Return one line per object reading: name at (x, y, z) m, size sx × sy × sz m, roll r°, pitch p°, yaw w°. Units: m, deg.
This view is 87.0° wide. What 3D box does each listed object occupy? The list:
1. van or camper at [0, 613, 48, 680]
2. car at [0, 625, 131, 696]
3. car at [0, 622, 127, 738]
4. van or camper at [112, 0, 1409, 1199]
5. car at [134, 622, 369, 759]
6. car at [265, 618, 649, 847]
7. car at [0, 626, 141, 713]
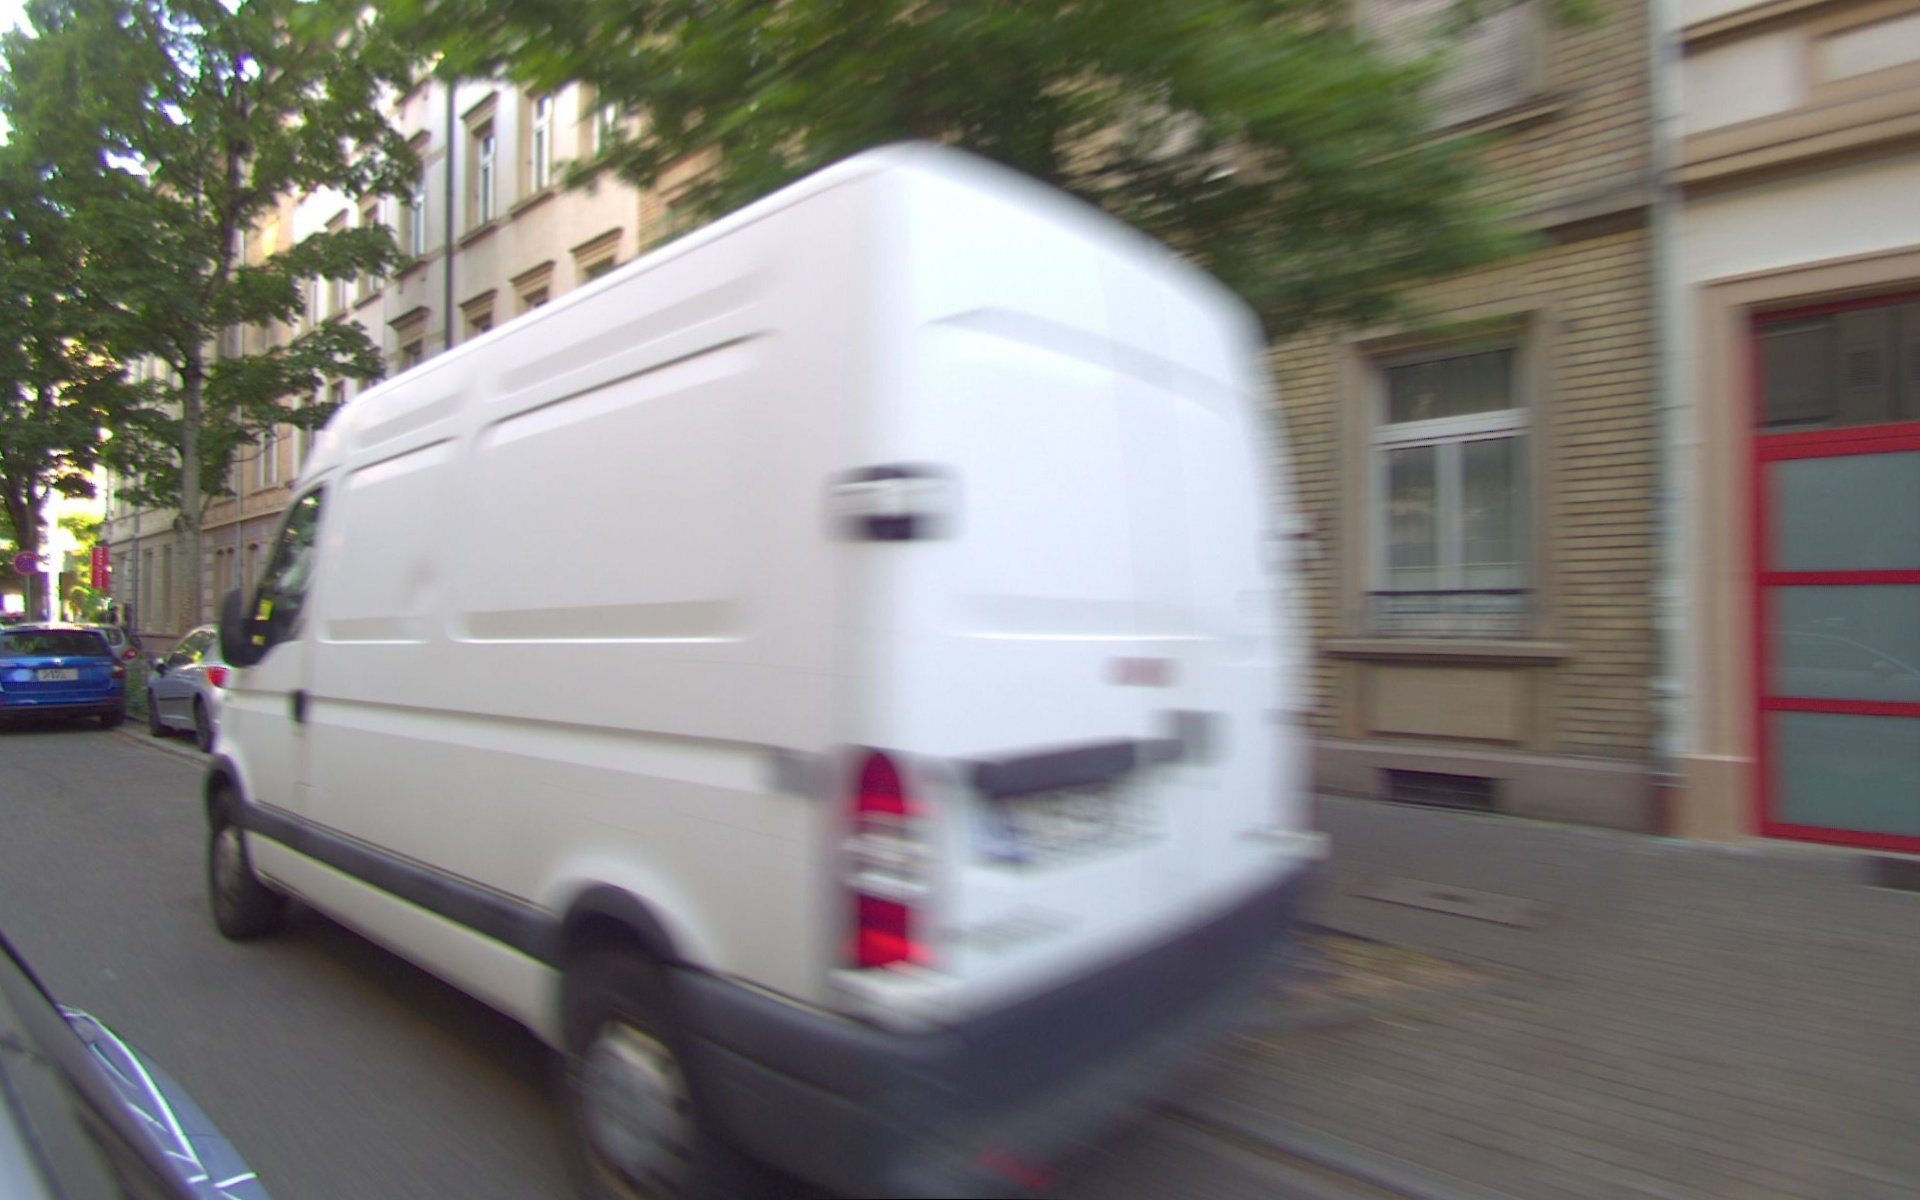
van or camper at (-28.260, 1.338, 29.681) m, size 3.752 × 1.872 × 1.663 m, roll -1°, pitch -2°, yaw 39°
car at (-20.842, 1.334, 23.477) m, size 3.752 × 1.506 × 1.735 m, roll -1°, pitch -2°, yaw 39°
car at (-13.636, 1.066, 14.535) m, size 4.277 × 1.468 × 1.644 m, roll -1°, pitch -3°, yaw 38°
van or camper at (-1.471, 0.316, 4.145) m, size 5.658 × 2.449 × 2.196 m, roll -1°, pitch -3°, yaw 41°
car at (-9.063, 1.030, 12.831) m, size 3.846 × 1.451 × 1.593 m, roll -1°, pitch -1°, yaw 42°
car at (-4.465, 0.949, 8.763) m, size 3.796 × 1.555 × 1.594 m, roll -1°, pitch -2°, yaw 40°
car at (-17.357, 1.260, 19.636) m, size 3.756 × 1.506 × 1.733 m, roll -1°, pitch -2°, yaw 42°
